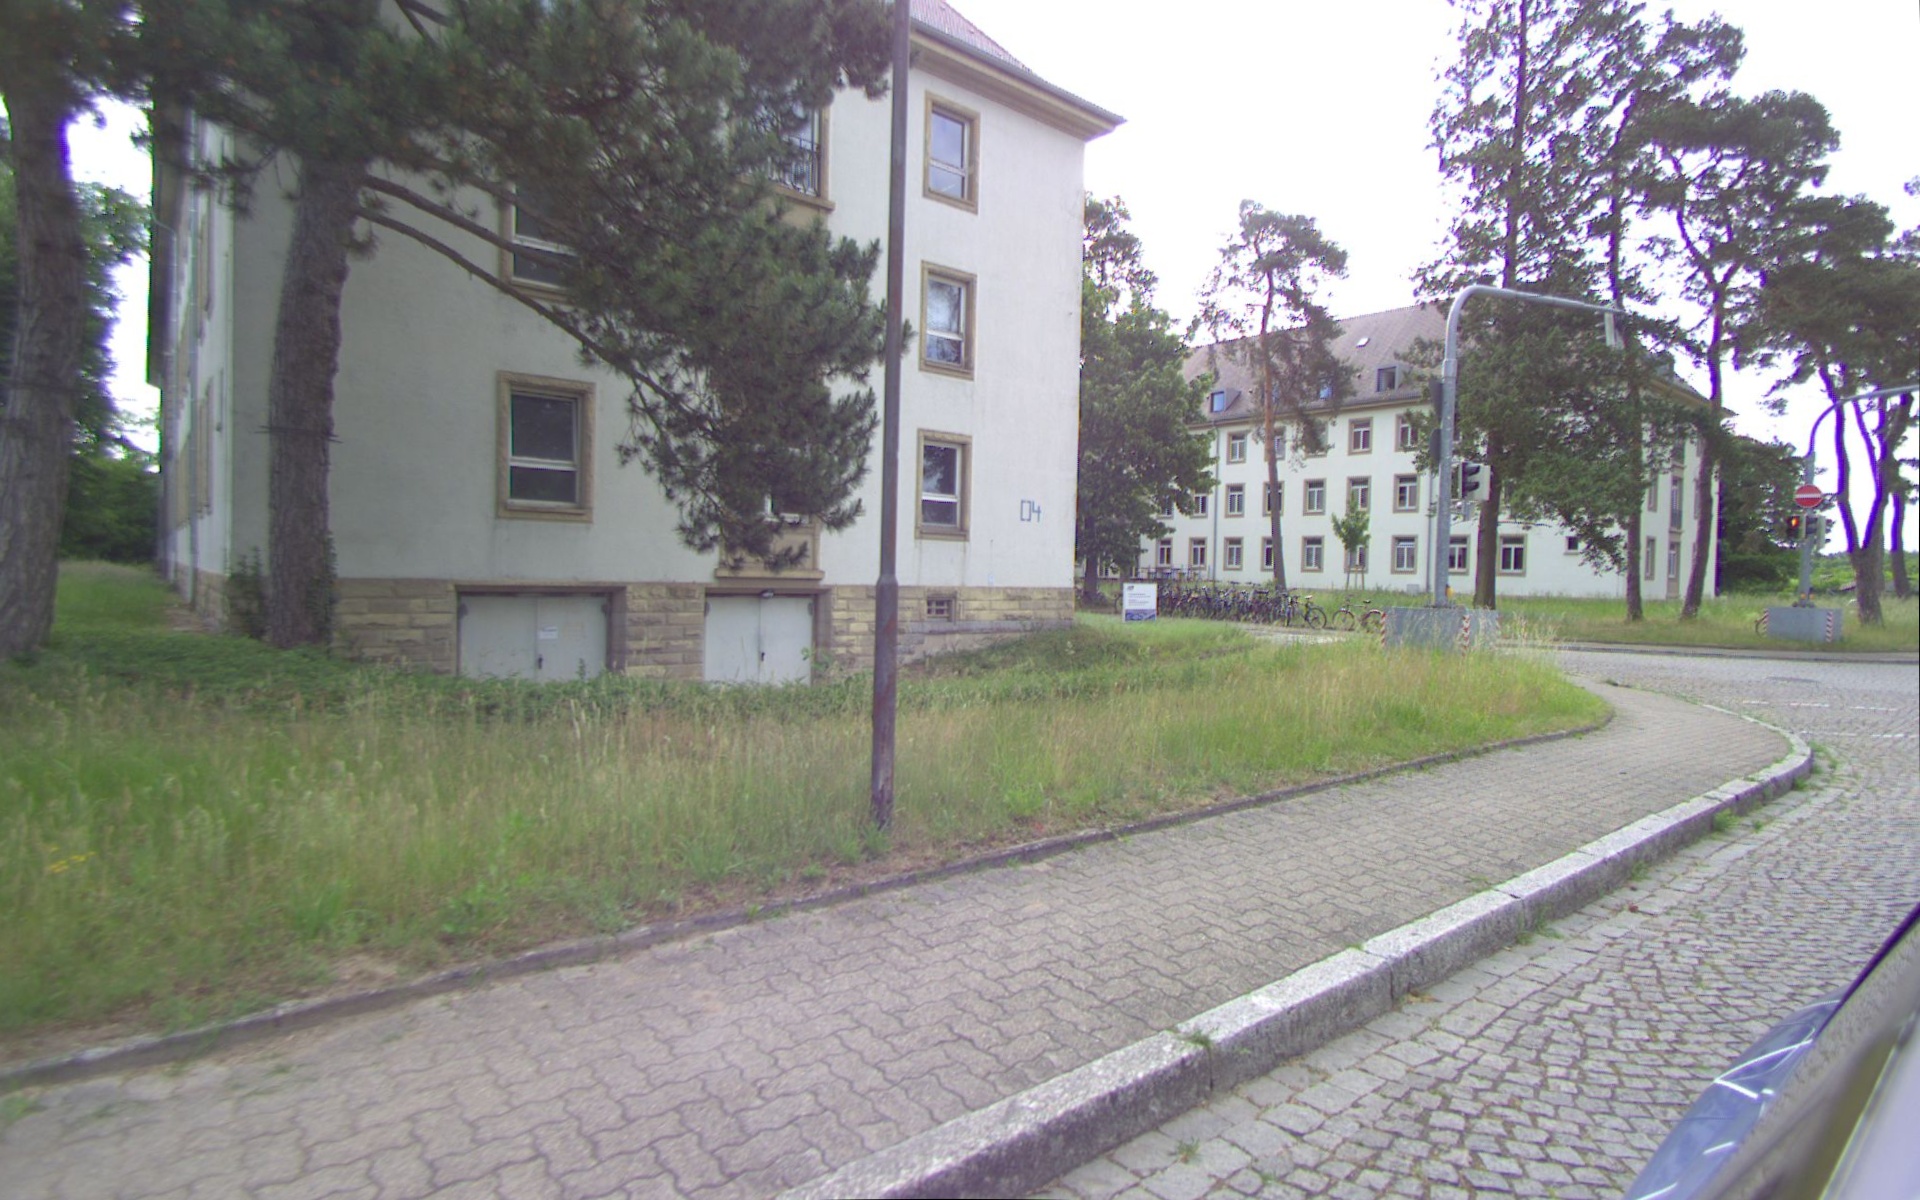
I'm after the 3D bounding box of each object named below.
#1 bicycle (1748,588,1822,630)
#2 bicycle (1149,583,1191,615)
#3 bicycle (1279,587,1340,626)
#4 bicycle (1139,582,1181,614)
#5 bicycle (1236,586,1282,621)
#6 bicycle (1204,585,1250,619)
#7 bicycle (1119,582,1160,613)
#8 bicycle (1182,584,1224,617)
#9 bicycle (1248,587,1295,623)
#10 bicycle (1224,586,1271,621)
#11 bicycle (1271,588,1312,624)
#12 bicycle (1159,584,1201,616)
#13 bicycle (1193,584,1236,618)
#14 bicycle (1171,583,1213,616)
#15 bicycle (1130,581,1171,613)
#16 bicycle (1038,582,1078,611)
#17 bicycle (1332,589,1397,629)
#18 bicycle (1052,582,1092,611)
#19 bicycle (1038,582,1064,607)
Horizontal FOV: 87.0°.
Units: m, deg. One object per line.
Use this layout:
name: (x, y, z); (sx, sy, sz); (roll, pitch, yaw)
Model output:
bicycle: (22.921, 0.248, 28.121); (1.623, 1.099, 0.616); (1, 1, -8)
bicycle: (7.620, -0.034, 36.705); (1.699, 1.142, 0.448); (0, 1, -37)
bicycle: (10.567, 0.179, 30.651); (0.603, 1.099, 1.656); (0, 1, -37)
bicycle: (7.341, -0.076, 37.097); (1.699, 1.142, 0.448); (0, 1, -37)
bicycle: (9.931, 0.124, 33.637); (1.668, 1.142, 0.448); (0, 1, -32)
bicycle: (9.141, 0.067, 34.629); (1.697, 1.142, 0.448); (0, 1, -32)
bicycle: (6.734, -0.104, 37.847); (1.699, 1.142, 0.448); (0, 1, -37)
bicycle: (8.520, 0.018, 35.490); (1.699, 1.142, 0.448); (0, 1, -37)
bicycle: (10.226, 0.152, 33.240); (1.669, 1.142, 0.477); (0, 1, -32)
bicycle: (9.678, 0.122, 34.047); (1.697, 1.142, 0.448); (0, 1, -32)
bicycle: (10.795, 0.187, 32.907); (1.628, 1.142, 0.476); (0, 1, -41)
bicycle: (7.899, -0.006, 36.304); (1.699, 1.142, 0.448); (0, 1, -37)
bicycle: (8.826, 0.047, 35.082); (1.699, 1.142, 0.448); (0, 1, -37)
bicycle: (8.237, -0.005, 35.882); (1.699, 1.142, 0.448); (0, 1, -37)
bicycle: (7.044, -0.104, 37.452); (1.699, 1.142, 0.448); (0, 1, -37)
bicycle: (3.891, -0.137, 40.241); (1.699, 1.142, 0.448); (0, 1, -37)
bicycle: (11.750, 0.254, 29.428); (0.604, 1.099, 1.653); (0, 2, -43)
bicycle: (4.429, -0.138, 39.904); (1.699, 1.142, 0.448); (0, 1, -37)
bicycle: (4.253, -0.274, 47.387); (0.475, 1.141, 1.580); (2, 1, 34)
